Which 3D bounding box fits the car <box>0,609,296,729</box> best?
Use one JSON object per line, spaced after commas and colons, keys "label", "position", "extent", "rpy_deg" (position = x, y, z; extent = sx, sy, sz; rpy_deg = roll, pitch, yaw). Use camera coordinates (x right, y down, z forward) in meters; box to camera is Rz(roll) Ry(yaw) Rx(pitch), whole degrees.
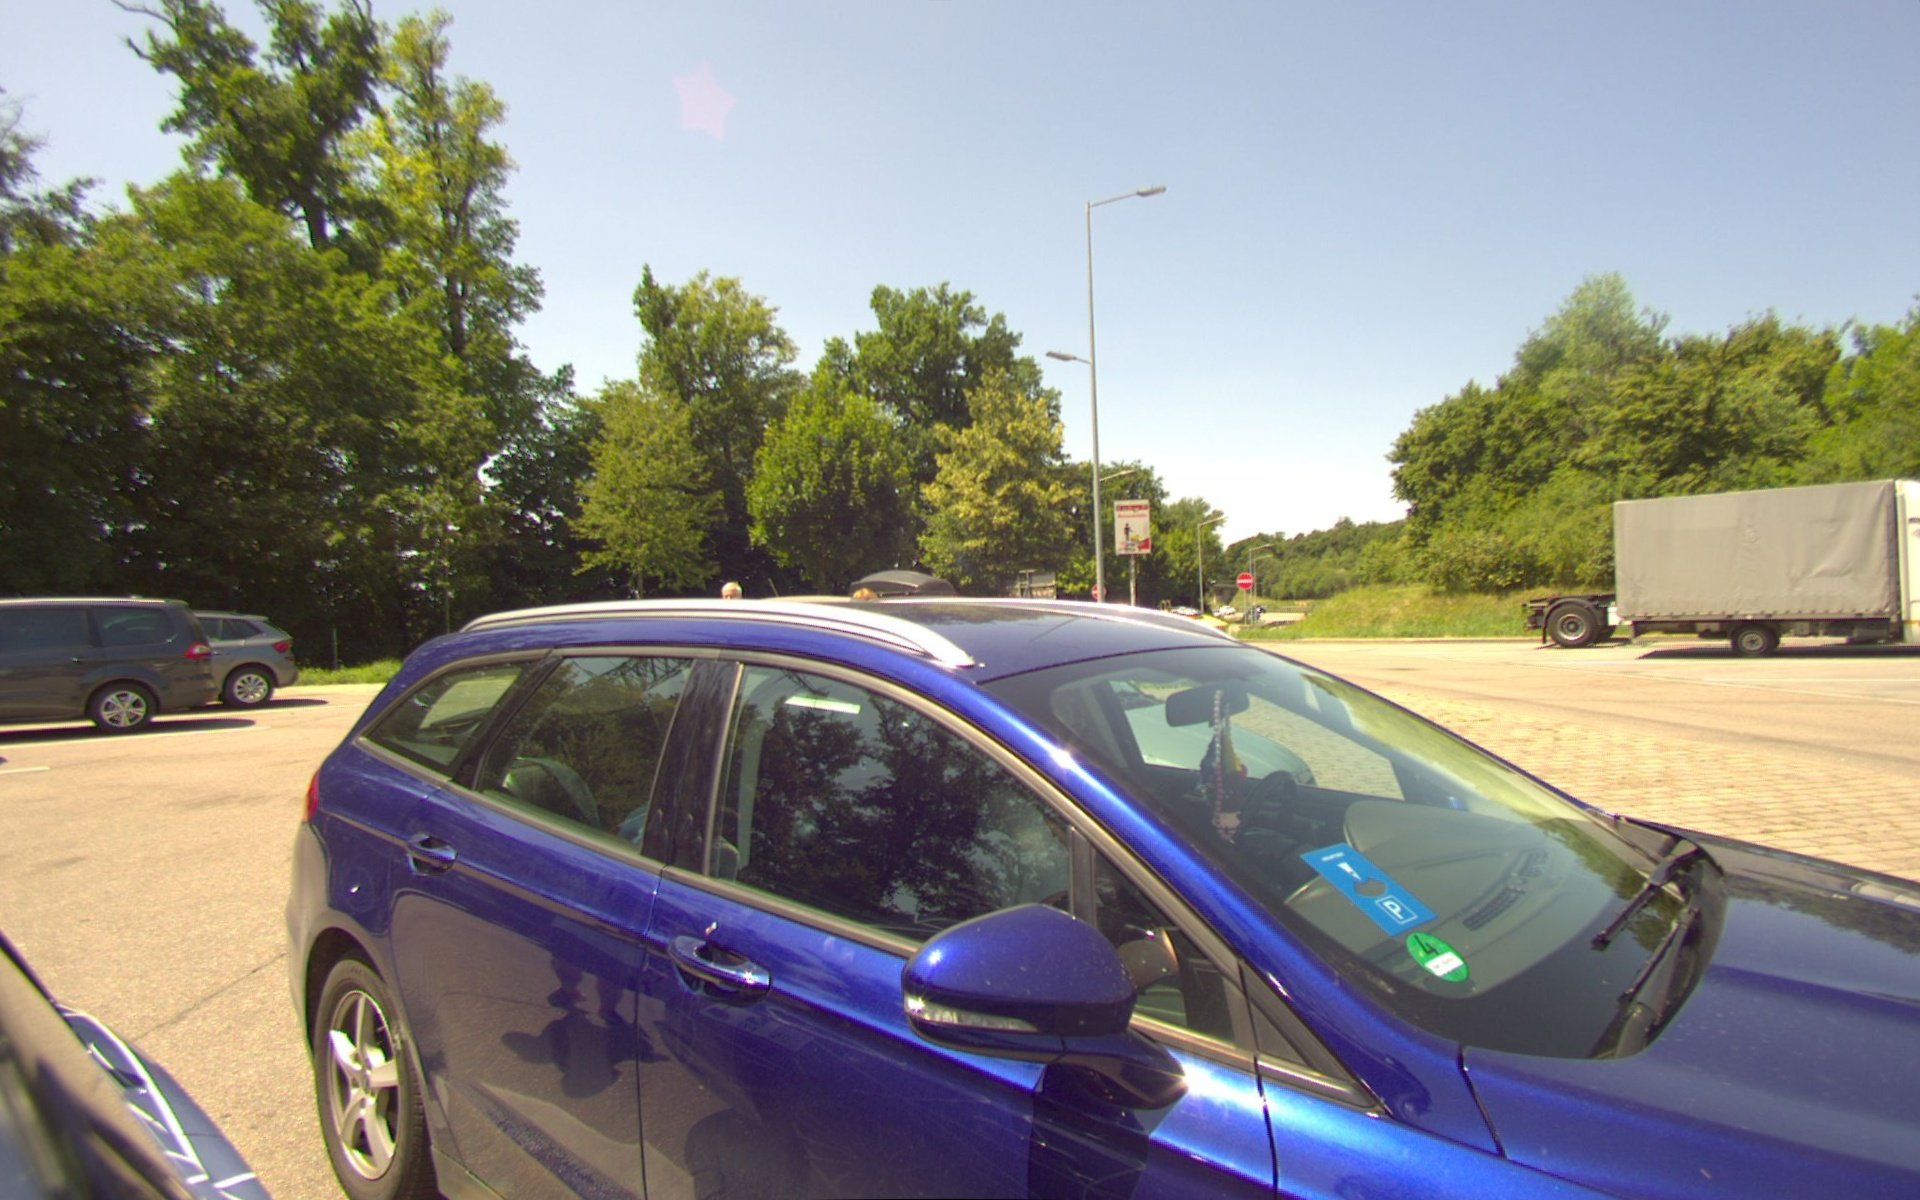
{"label": "car", "position": [-12.718, 0.979, 15.610], "extent": [3.910, 1.598, 1.782], "rpy_deg": [-1, -1, -43]}

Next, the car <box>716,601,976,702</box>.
{"label": "car", "position": [-2.019, 0.833, 17.090], "extent": [4.466, 1.476, 1.756], "rpy_deg": [-3, -1, 40]}

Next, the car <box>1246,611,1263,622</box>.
{"label": "car", "position": [43.222, 2.395, 148.680], "extent": [1.693, 1.547, 3.847], "rpy_deg": [-2, -1, 5]}

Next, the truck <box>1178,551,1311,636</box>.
{"label": "truck", "position": [13.323, -0.249, 47.425], "extent": [5.782, 3.720, 1.987], "rpy_deg": [-2, -1, 20]}

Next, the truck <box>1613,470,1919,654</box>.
{"label": "truck", "position": [16.747, -0.642, 18.859], "extent": [7.347, 3.152, 2.339], "rpy_deg": [-3, -2, 41]}

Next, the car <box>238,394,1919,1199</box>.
{"label": "car", "position": [0.235, 0.636, 2.105], "extent": [4.466, 1.476, 1.756], "rpy_deg": [-3, -1, 40]}

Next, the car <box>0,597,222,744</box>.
{"label": "car", "position": [-11.689, 0.854, 12.559], "extent": [3.910, 1.701, 1.782], "rpy_deg": [-1, -1, -43]}

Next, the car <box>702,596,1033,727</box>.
{"label": "car", "position": [-1.367, 0.762, 13.536], "extent": [4.466, 1.476, 1.756], "rpy_deg": [-3, -1, 40]}

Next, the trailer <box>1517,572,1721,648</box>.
{"label": "trailer", "position": [15.771, 0.274, 24.326], "extent": [3.900, 1.674, 1.456], "rpy_deg": [-2, -1, 41]}

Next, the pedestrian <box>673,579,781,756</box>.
{"label": "pedestrian", "position": [-2.244, 0.622, 9.740], "extent": [0.759, 1.614, 0.663], "rpy_deg": [-3, -1, 41]}

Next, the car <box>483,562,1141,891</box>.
{"label": "car", "position": [-1.225, 0.636, 6.666], "extent": [4.466, 1.476, 1.756], "rpy_deg": [-3, -1, 40]}
